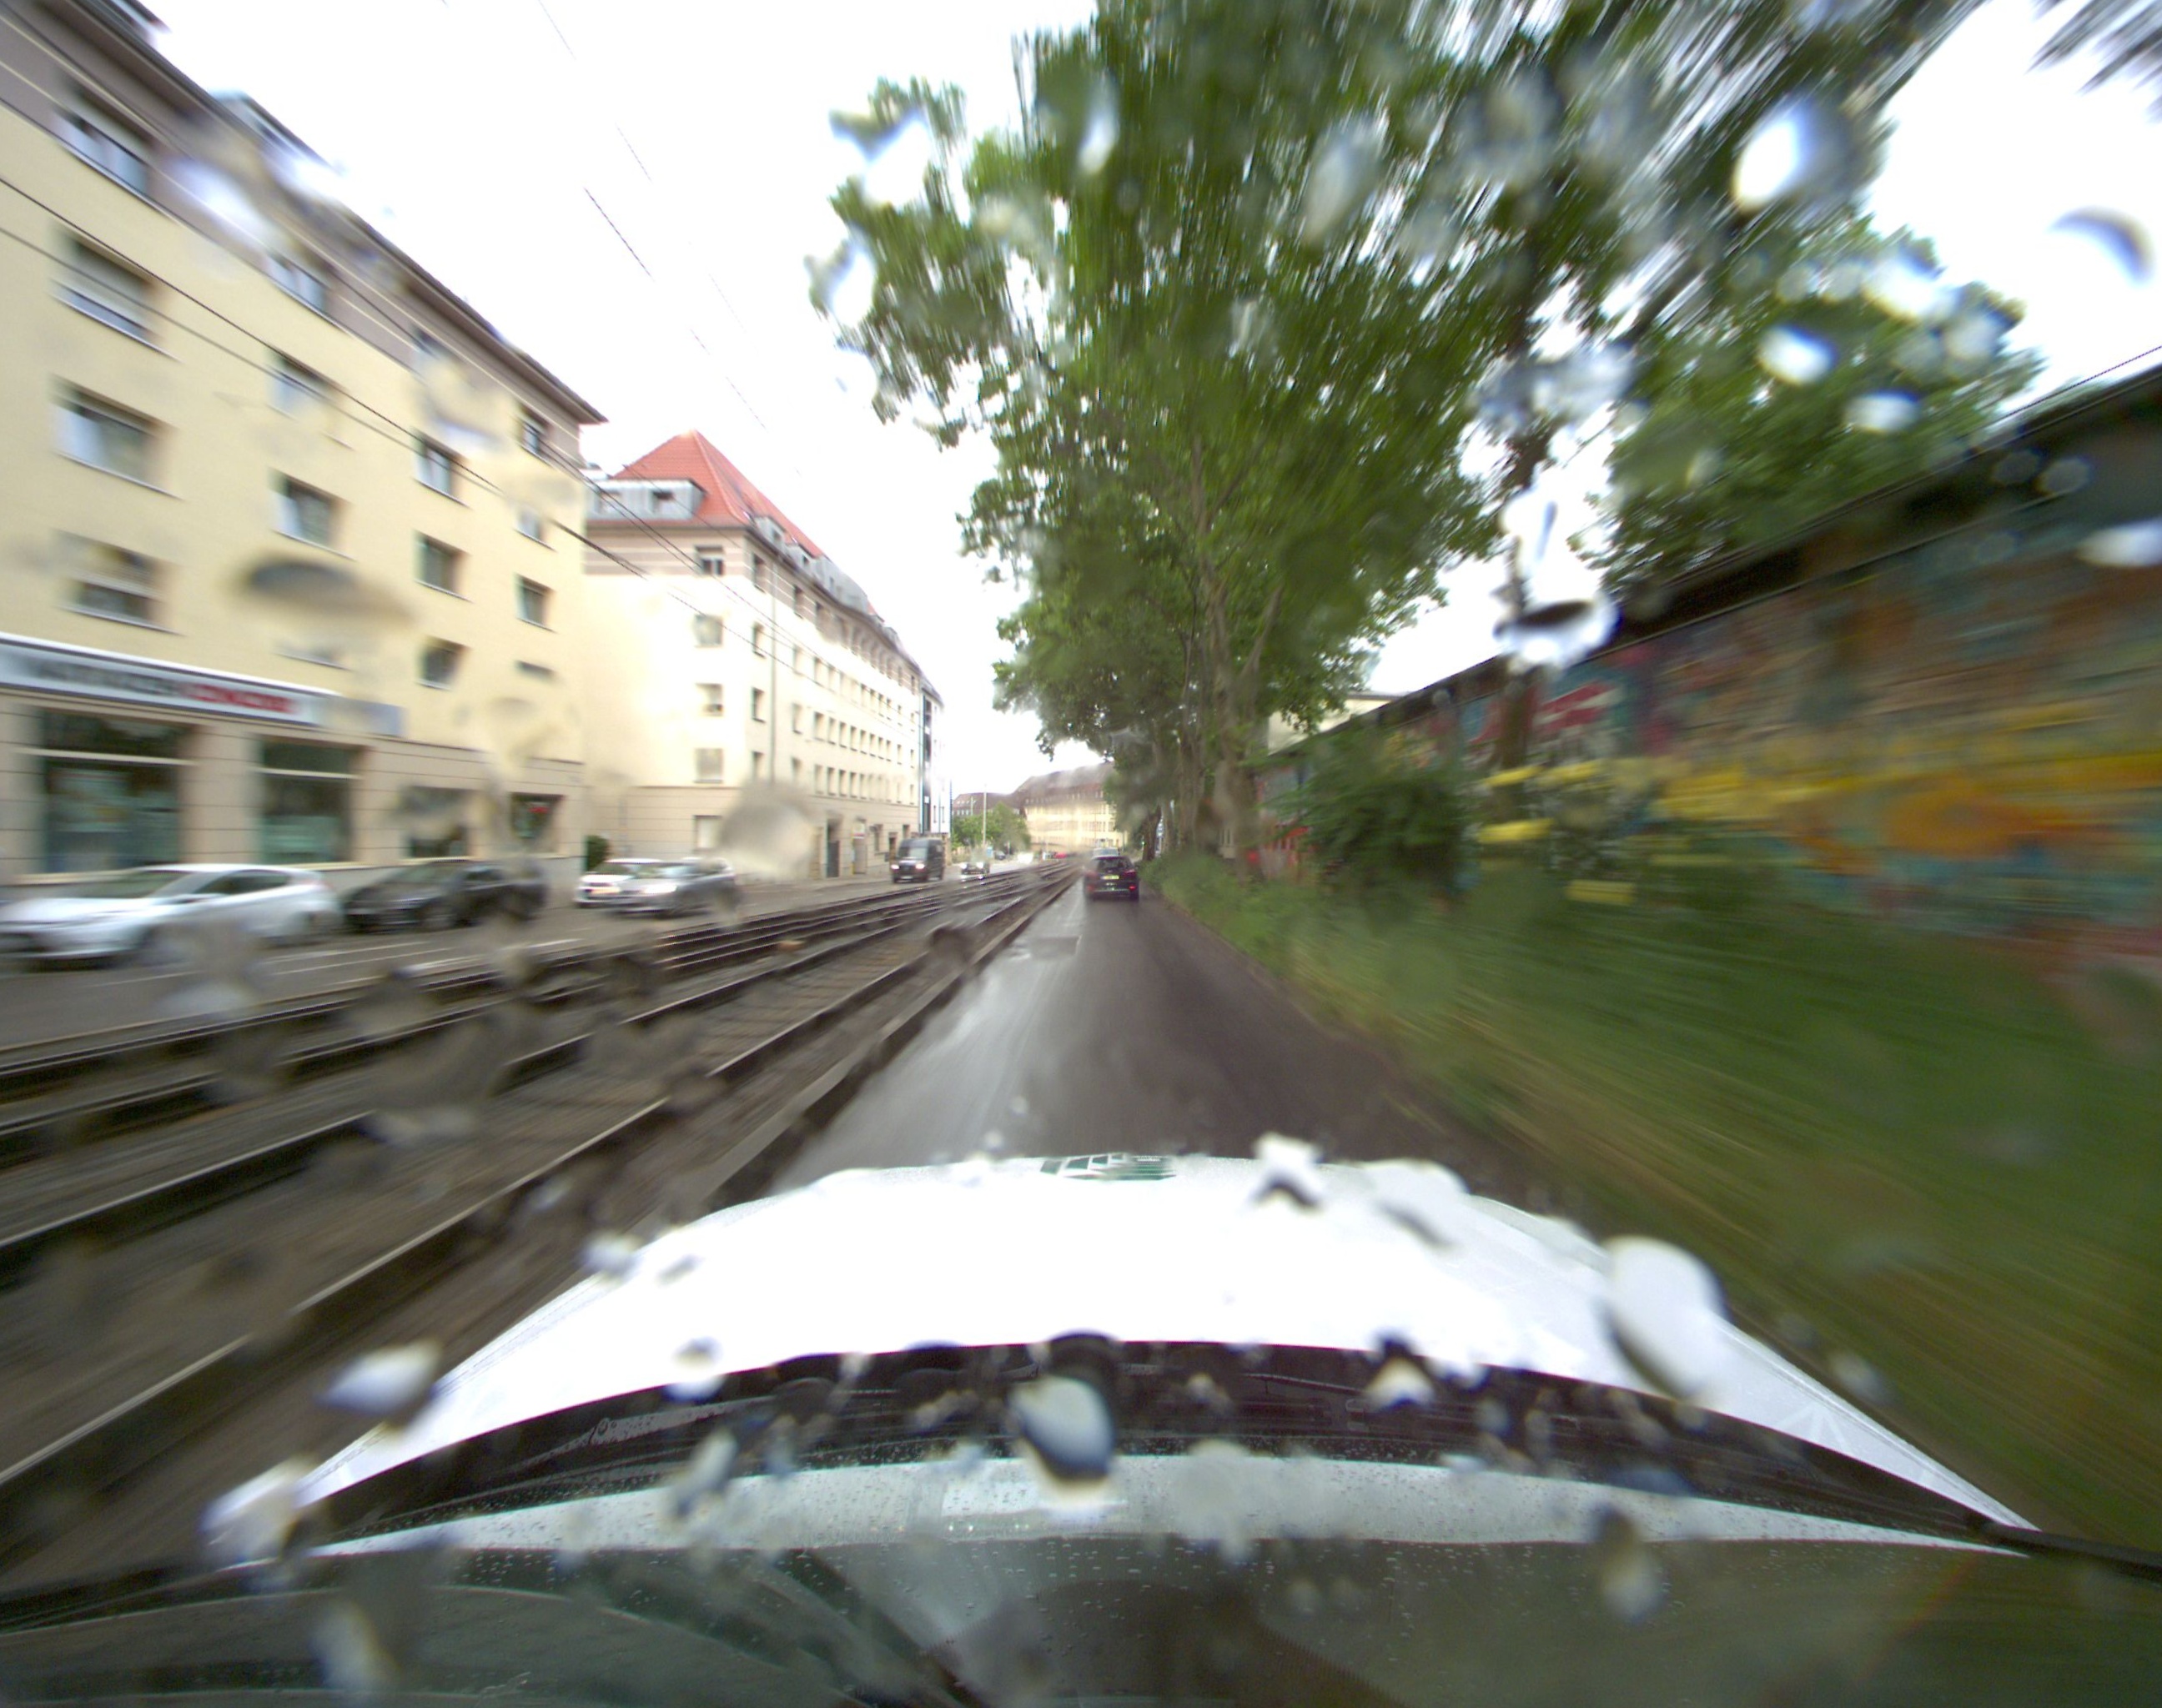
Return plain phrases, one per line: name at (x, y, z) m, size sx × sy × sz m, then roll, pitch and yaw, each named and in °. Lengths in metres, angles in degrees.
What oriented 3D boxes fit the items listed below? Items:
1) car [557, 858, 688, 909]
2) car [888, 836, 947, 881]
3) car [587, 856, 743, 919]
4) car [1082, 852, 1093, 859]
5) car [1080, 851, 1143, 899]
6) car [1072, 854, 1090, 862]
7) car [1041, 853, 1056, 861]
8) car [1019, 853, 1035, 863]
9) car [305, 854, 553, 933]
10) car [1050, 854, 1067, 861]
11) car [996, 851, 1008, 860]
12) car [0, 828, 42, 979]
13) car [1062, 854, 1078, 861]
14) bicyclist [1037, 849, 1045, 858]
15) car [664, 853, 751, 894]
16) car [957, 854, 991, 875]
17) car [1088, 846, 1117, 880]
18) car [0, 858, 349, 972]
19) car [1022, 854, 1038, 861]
car at (-14.396, 0.871, 25.845) m, size 1.697 × 1.396 × 3.939 m, roll 2°, pitch 0°, yaw 3°
car at (-9.383, 0.297, 47.323) m, size 1.986 × 2.452 × 6.000 m, roll 0°, pitch -1°, yaw 2°
car at (-10.708, 0.797, 21.368) m, size 1.705 × 1.462 × 4.284 m, roll -1°, pitch 0°, yaw 3°
car at (1.321, 0.278, 167.540) m, size 1.655 × 1.476 × 3.635 m, roll 0°, pitch 0°, yaw -7°
car at (0.964, 0.652, 27.387) m, size 1.927 × 1.453 × 4.317 m, roll 1°, pitch 0°, yaw 0°
car at (-0.021, 0.800, 171.256) m, size 2.007 × 1.542 × 3.959 m, roll 0°, pitch 0°, yaw -33°
car at (-7.343, 0.690, 185.426) m, size 2.004 × 1.542 × 3.967 m, roll -2°, pitch 0°, yaw -25°
car at (-7.885, 0.595, 119.585) m, size 1.792 × 1.482 × 4.843 m, roll 0°, pitch 0°, yaw 3°
car at (-14.344, 0.788, 18.353) m, size 1.807 × 1.499 × 4.583 m, roll 1°, pitch 0°, yaw 1°
car at (-4.934, 0.773, 180.565) m, size 2.008 × 1.542 × 3.957 m, roll 0°, pitch 0°, yaw -34°
car at (-13.535, 0.210, 139.229) m, size 1.992 × 1.542 × 3.989 m, roll 0°, pitch 0°, yaw -8°
car at (-14.691, 0.594, 7.918) m, size 1.986 × 1.905 × 5.462 m, roll 1°, pitch 0°, yaw 2°
car at (-2.391, 0.790, 176.119) m, size 1.592 × 1.542 × 3.959 m, roll 0°, pitch 0°, yaw -33°
bicyclist at (-5.969, -0.049, 121.616) m, size 0.777 × 1.313 × 0.782 m, roll -2°, pitch 0°, yaw -35°
car at (-14.410, 0.709, 31.627) m, size 1.703 × 1.450 × 3.540 m, roll 2°, pitch 0°, yaw -1°
car at (-8.621, 0.819, 65.919) m, size 1.873 × 1.486 × 4.857 m, roll 0°, pitch 2°, yaw 2°
car at (1.324, 0.517, 50.166) m, size 1.734 × 2.014 × 3.905 m, roll 0°, pitch 0°, yaw 1°
car at (-14.527, 0.865, 13.166) m, size 1.687 × 1.439 × 4.046 m, roll -4°, pitch 0°, yaw -2°
car at (-12.109, 0.802, 193.082) m, size 2.007 × 1.542 × 3.960 m, roll 0°, pitch 0°, yaw -31°
